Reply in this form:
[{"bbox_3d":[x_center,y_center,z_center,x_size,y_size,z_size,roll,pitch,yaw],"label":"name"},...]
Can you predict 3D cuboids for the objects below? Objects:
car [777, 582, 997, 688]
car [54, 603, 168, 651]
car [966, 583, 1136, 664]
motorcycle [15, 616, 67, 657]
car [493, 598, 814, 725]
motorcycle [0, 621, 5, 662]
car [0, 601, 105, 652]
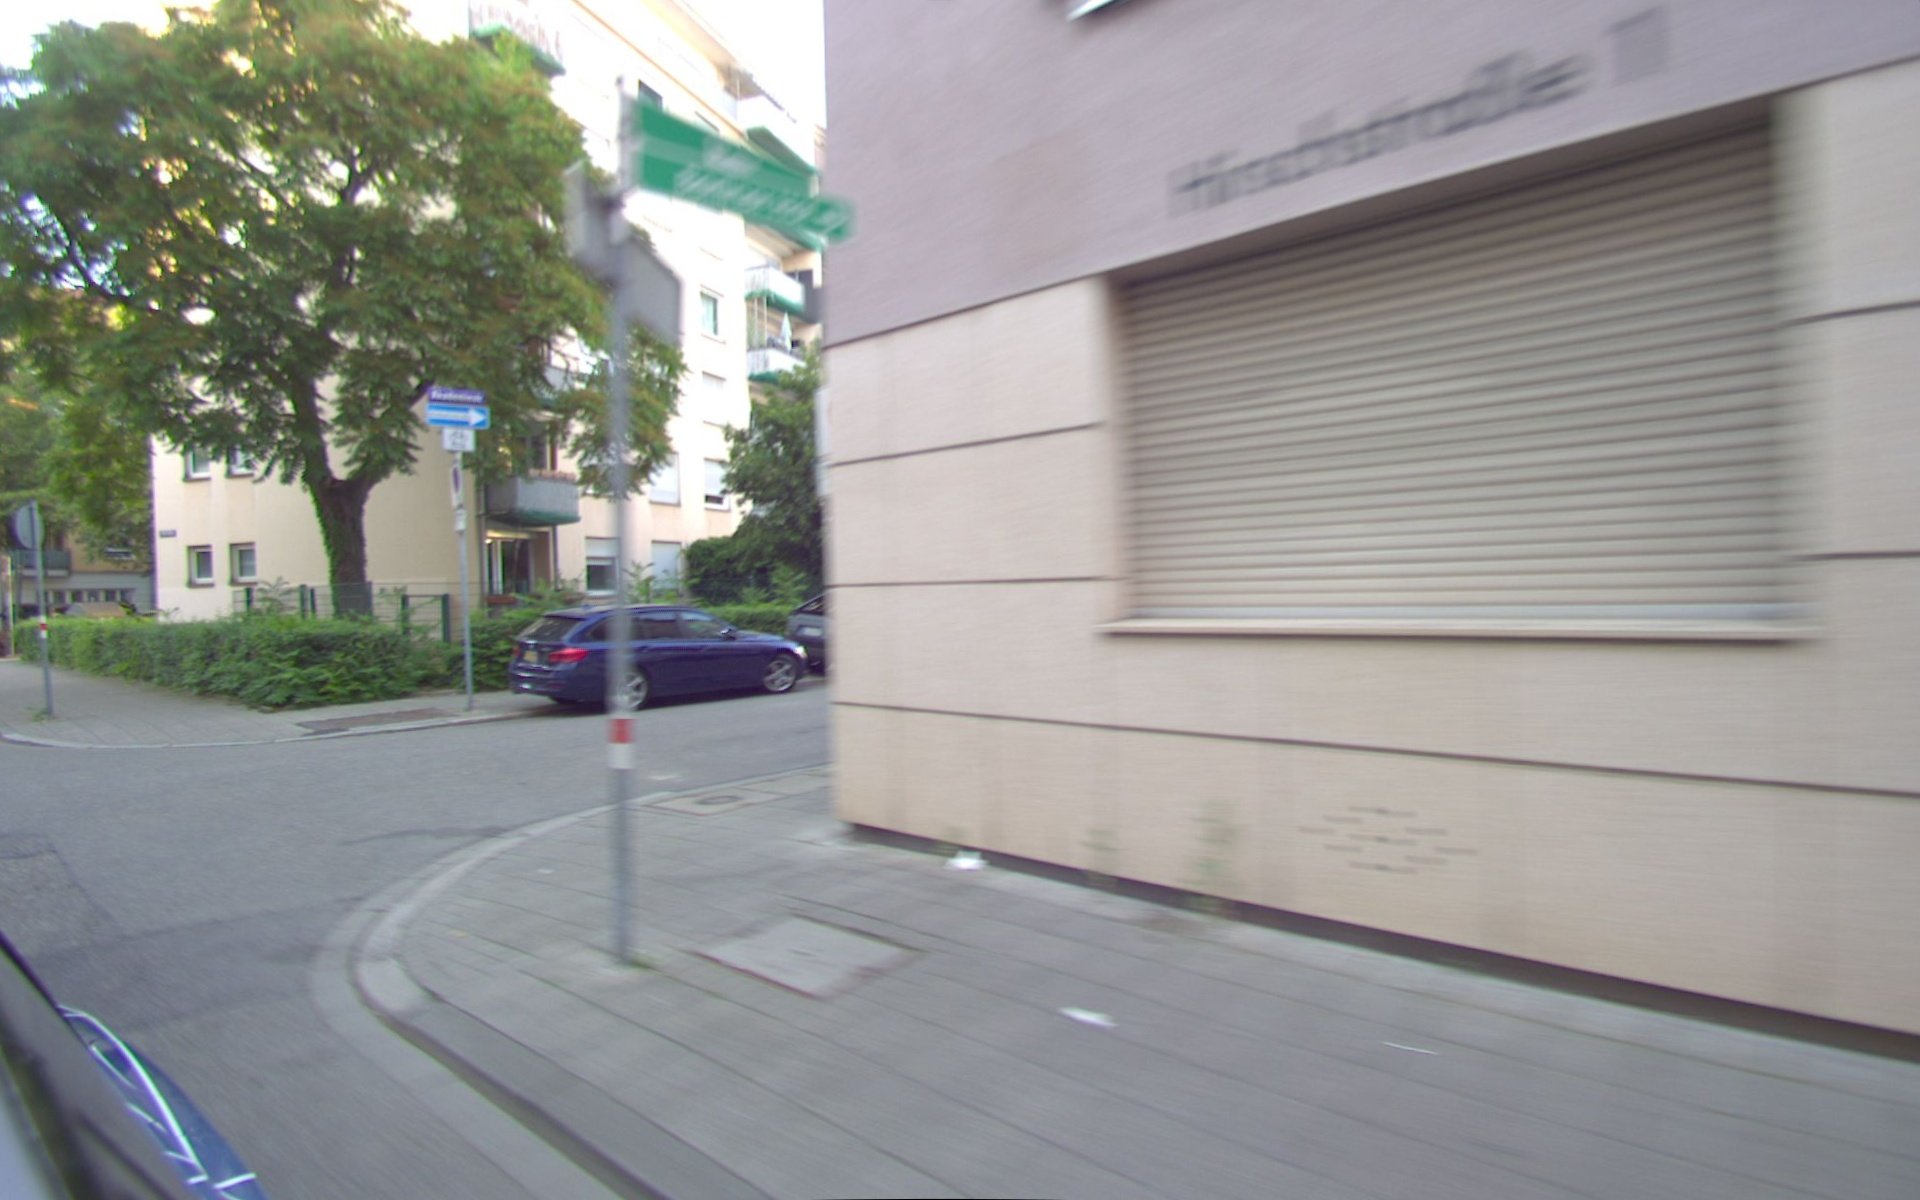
[{"bbox_3d":[-1.264,0.568,19.056,1.727,1.717,4.070,-1,1,42],"label":"car"},{"bbox_3d":[-39.448,1.218,47.047,4.295,2.092,2.215,1,0,19],"label":"car"},{"bbox_3d":[2.126,0.468,22.719,1.829,1.588,3.946,-1,1,41],"label":"car"},{"bbox_3d":[-32.138,1.281,35.383,1.958,1.417,0.568,-2,0,23],"label":"motorcycle"},{"bbox_3d":[-4.366,0.781,15.023,1.725,1.493,4.328,0,1,39],"label":"car"},{"bbox_3d":[-32.504,1.389,33.691,0.846,1.363,1.962,-2,0,-39],"label":"motorcycle"},{"bbox_3d":[-40.537,1.130,44.852,4.295,2.092,2.215,1,0,19],"label":"car"}]
